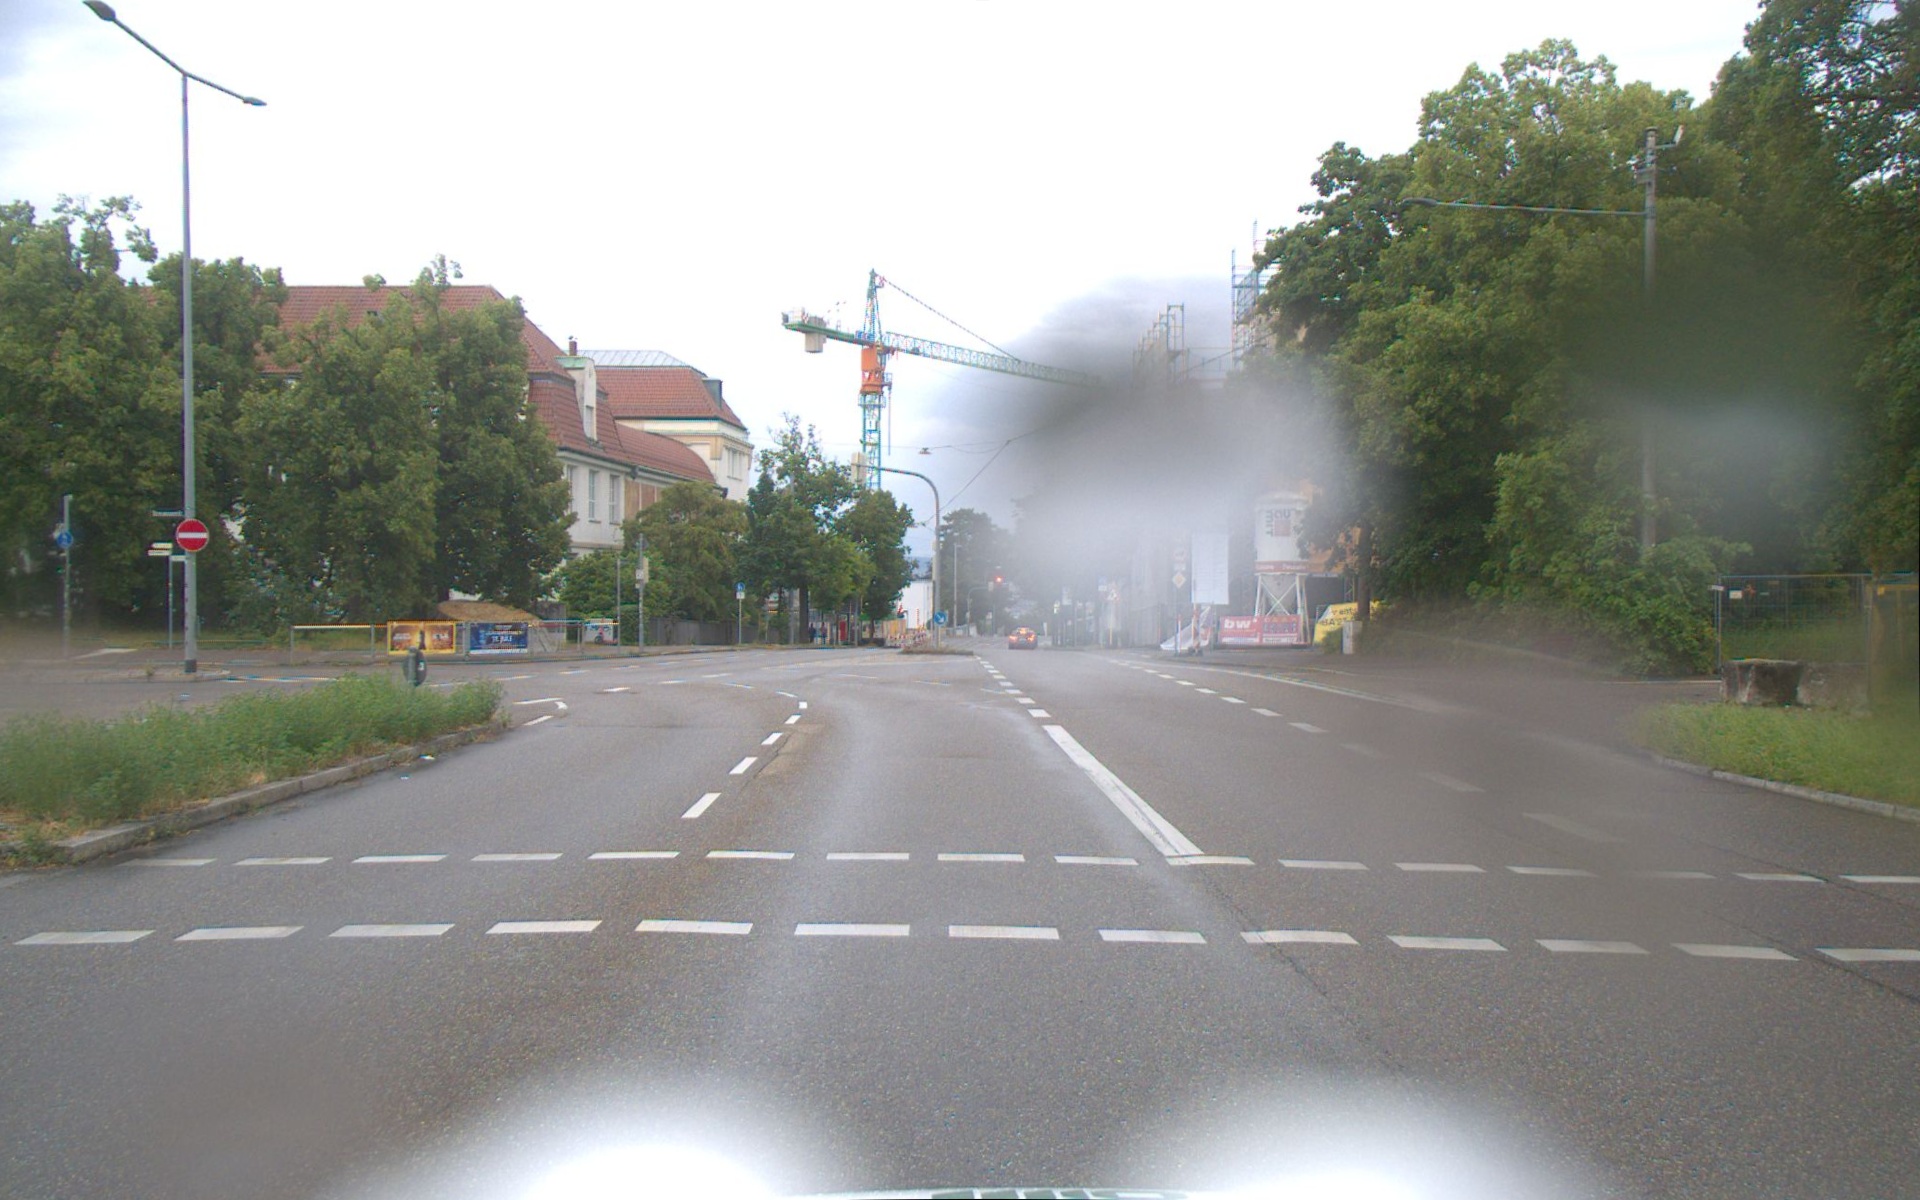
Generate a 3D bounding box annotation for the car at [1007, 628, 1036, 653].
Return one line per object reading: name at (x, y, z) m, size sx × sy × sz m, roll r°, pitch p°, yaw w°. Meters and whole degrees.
car at (4.638, 3.074, 125.048) m, size 1.953 × 1.780 × 3.999 m, roll -1°, pitch 0°, yaw -1°

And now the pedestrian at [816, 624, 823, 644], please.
pedestrian at (-10.227, 2.491, 120.521) m, size 0.465 × 1.421 × 0.411 m, roll 0°, pitch 0°, yaw -1°

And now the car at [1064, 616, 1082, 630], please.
car at (14.957, 3.110, 219.507) m, size 1.951 × 1.780 × 4.003 m, roll -1°, pitch 0°, yaw 10°

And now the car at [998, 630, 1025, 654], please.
car at (4.058, 3.316, 130.903) m, size 1.953 × 1.780 × 3.999 m, roll -1°, pitch 0°, yaw -1°

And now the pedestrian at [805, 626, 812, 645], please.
pedestrian at (-11.040, 2.580, 120.492) m, size 0.465 × 1.421 × 0.411 m, roll -1°, pitch 0°, yaw -1°

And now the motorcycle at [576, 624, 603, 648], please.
motorcycle at (-14.387, 1.387, 64.238) m, size 0.832 × 0.893 × 0.877 m, roll 1°, pitch 0°, yaw -1°
